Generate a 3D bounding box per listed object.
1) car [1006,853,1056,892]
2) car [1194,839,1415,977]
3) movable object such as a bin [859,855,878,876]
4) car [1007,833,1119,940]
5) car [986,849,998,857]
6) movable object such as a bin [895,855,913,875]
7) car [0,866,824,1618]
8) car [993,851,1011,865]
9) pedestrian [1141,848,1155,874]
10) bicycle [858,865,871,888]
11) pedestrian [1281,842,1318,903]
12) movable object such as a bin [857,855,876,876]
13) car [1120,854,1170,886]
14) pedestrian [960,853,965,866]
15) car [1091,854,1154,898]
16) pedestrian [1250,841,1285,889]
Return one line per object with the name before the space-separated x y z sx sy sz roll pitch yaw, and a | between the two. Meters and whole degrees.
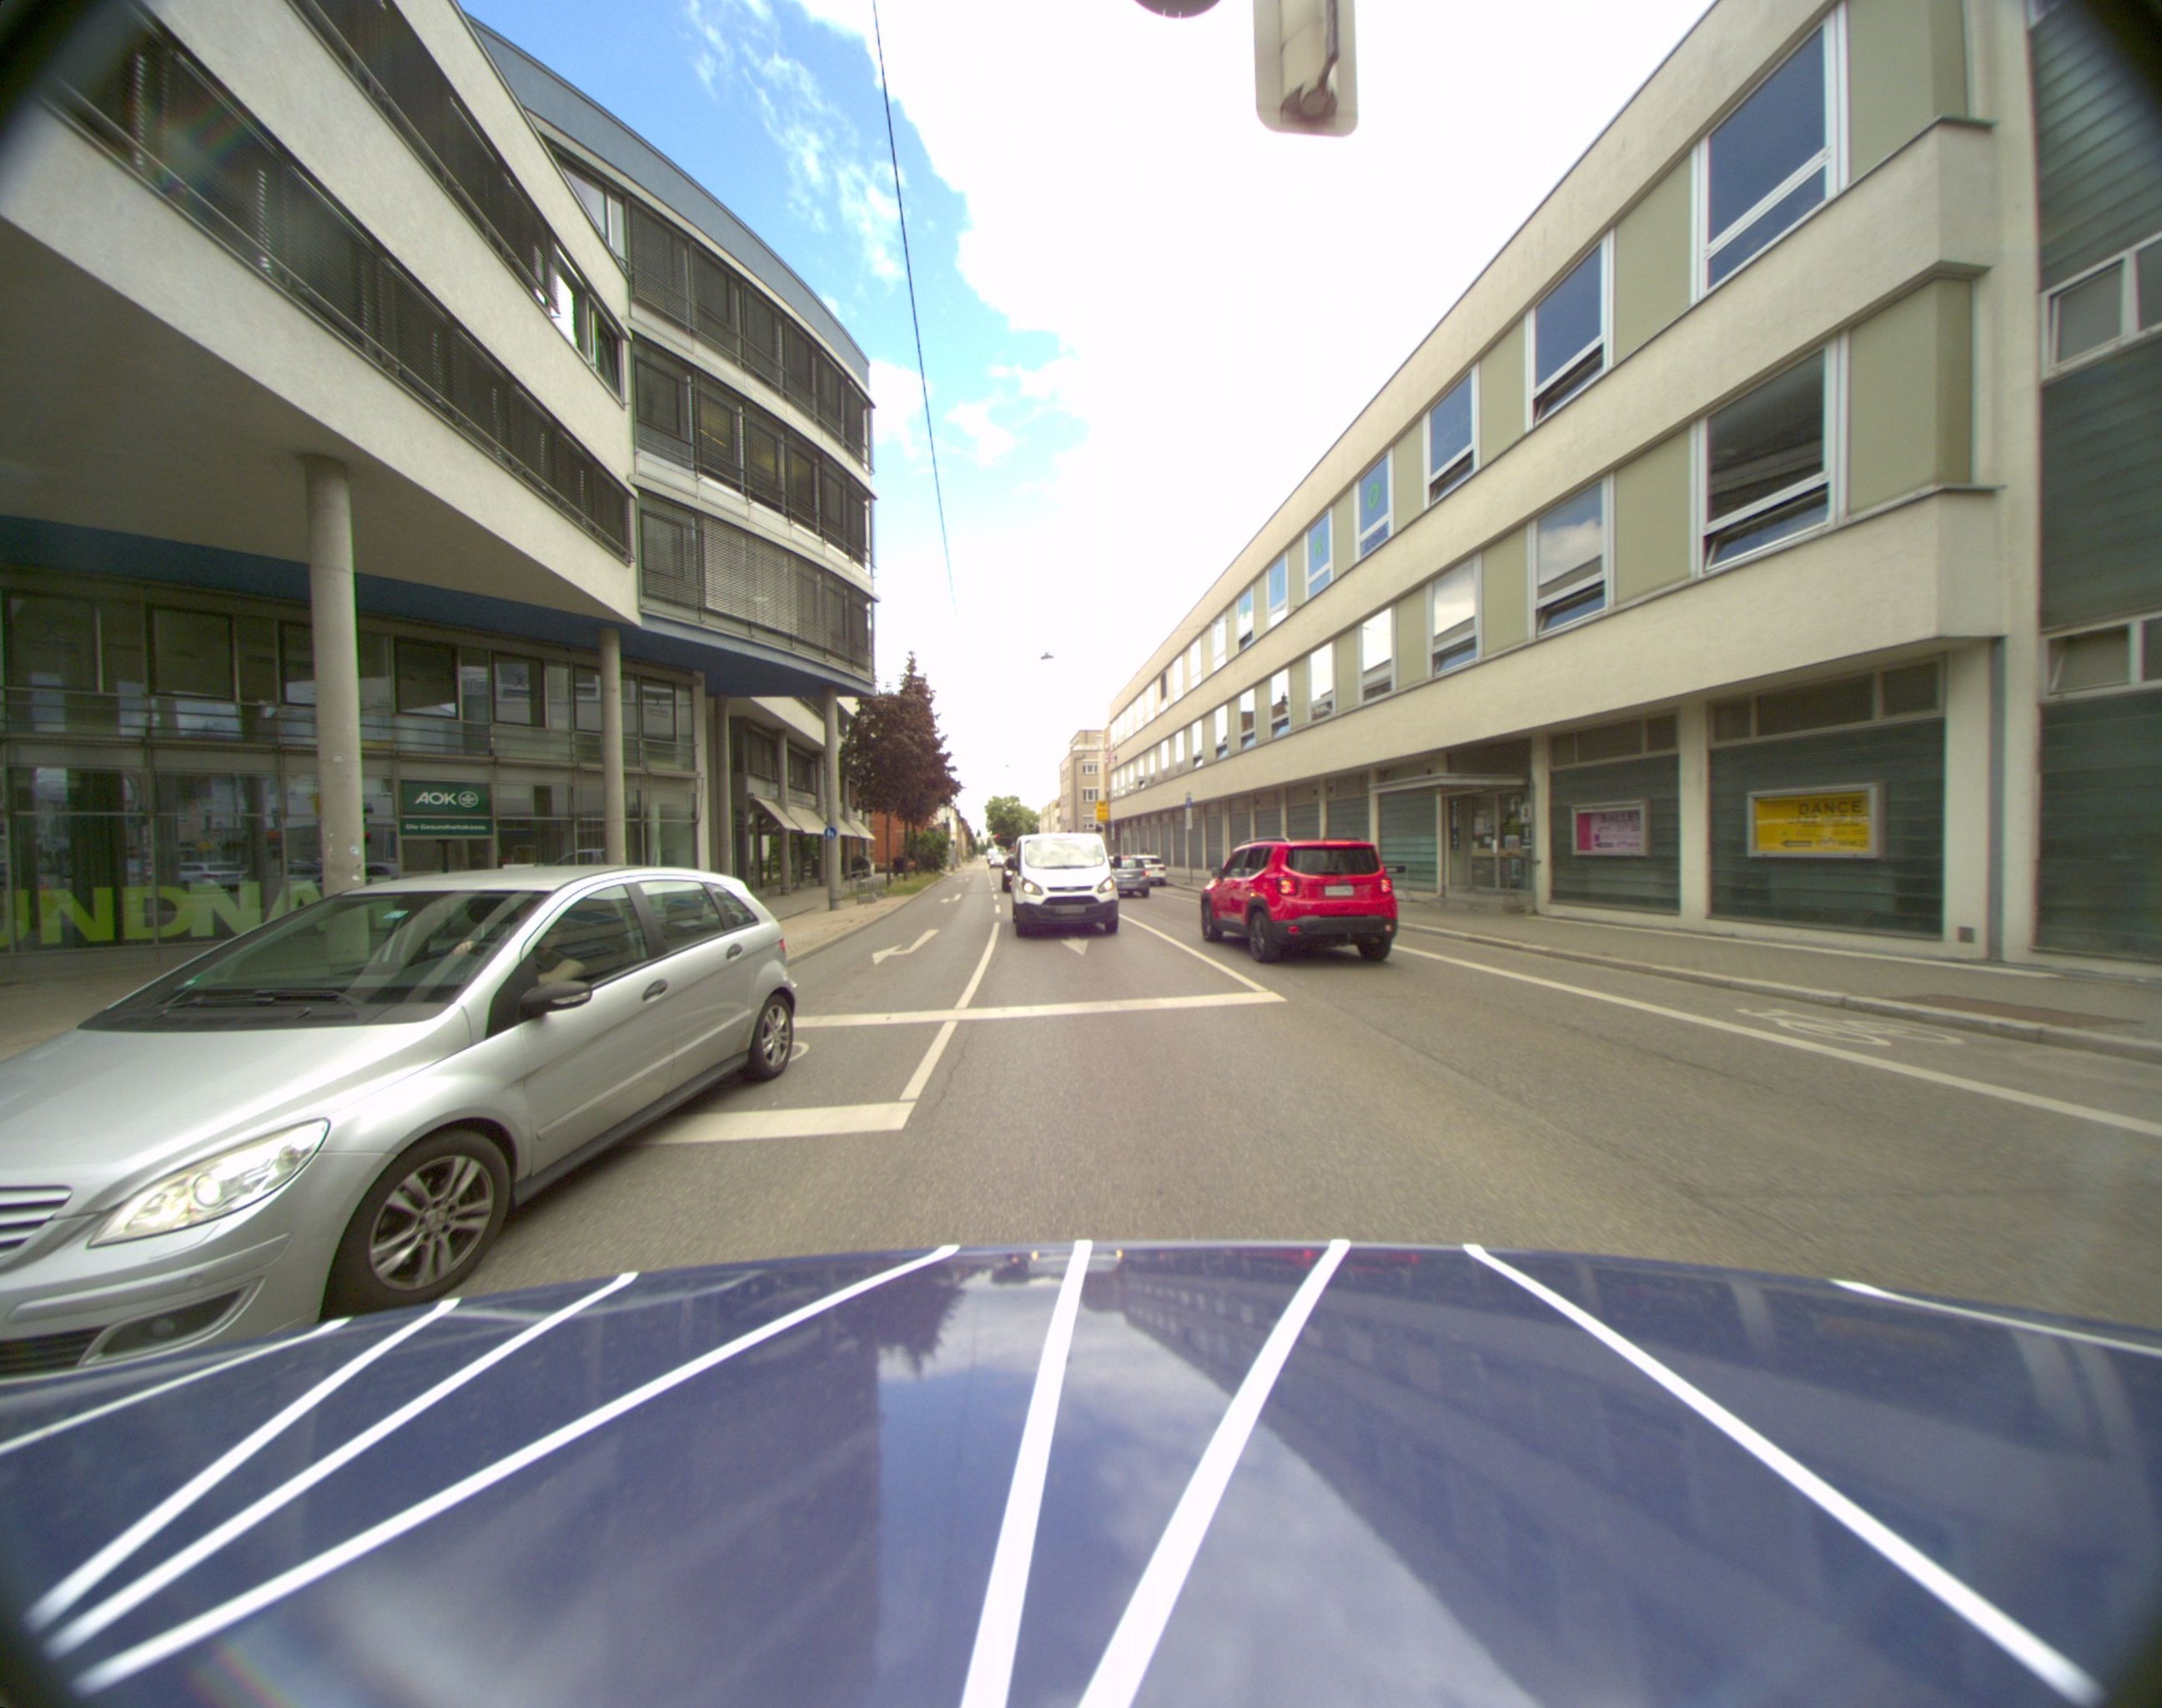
car | -2.225 0.731 32.538 1.966 1.517 4.569 -1 0 -6
car | 3.074 0.652 11.352 1.805 1.685 3.895 -1 0 -6
movable object such as a bin | -15.014 0.784 53.806 1.125 1.457 1.332 0 1 -9
car | -0.578 0.597 16.964 1.966 1.986 5.083 -1 0 -7
car | -15.878 -0.183 135.858 1.966 1.517 4.568 -1 0 -9
movable object such as a bin | -12.963 0.775 55.659 1.131 1.457 1.411 0 1 -9
car | -3.289 0.965 4.017 1.998 1.537 4.571 -3 1 3
car | -8.880 0.472 85.767 1.966 1.517 4.569 -1 0 -6
pedestrian | 4.374 0.458 49.540 0.592 1.708 0.648 -2 1 -40
bicycle | -11.046 1.137 38.827 0.362 1.080 2.025 -2 1 -9
pedestrian | 6.217 0.511 21.659 0.591 1.708 1.054 -1 1 -9
movable object such as a bin | -14.806 0.798 52.462 1.101 1.457 1.332 0 1 -9
car | 3.018 0.703 36.633 1.675 1.425 4.550 0 0 -5
pedestrian | -15.910 0.785 101.954 0.690 1.721 0.649 -1 1 -9
car | 1.427 0.742 27.538 1.662 1.458 3.918 -1 0 -6
pedestrian | 6.801 0.395 27.757 0.864 1.708 1.030 -3 1 -9
